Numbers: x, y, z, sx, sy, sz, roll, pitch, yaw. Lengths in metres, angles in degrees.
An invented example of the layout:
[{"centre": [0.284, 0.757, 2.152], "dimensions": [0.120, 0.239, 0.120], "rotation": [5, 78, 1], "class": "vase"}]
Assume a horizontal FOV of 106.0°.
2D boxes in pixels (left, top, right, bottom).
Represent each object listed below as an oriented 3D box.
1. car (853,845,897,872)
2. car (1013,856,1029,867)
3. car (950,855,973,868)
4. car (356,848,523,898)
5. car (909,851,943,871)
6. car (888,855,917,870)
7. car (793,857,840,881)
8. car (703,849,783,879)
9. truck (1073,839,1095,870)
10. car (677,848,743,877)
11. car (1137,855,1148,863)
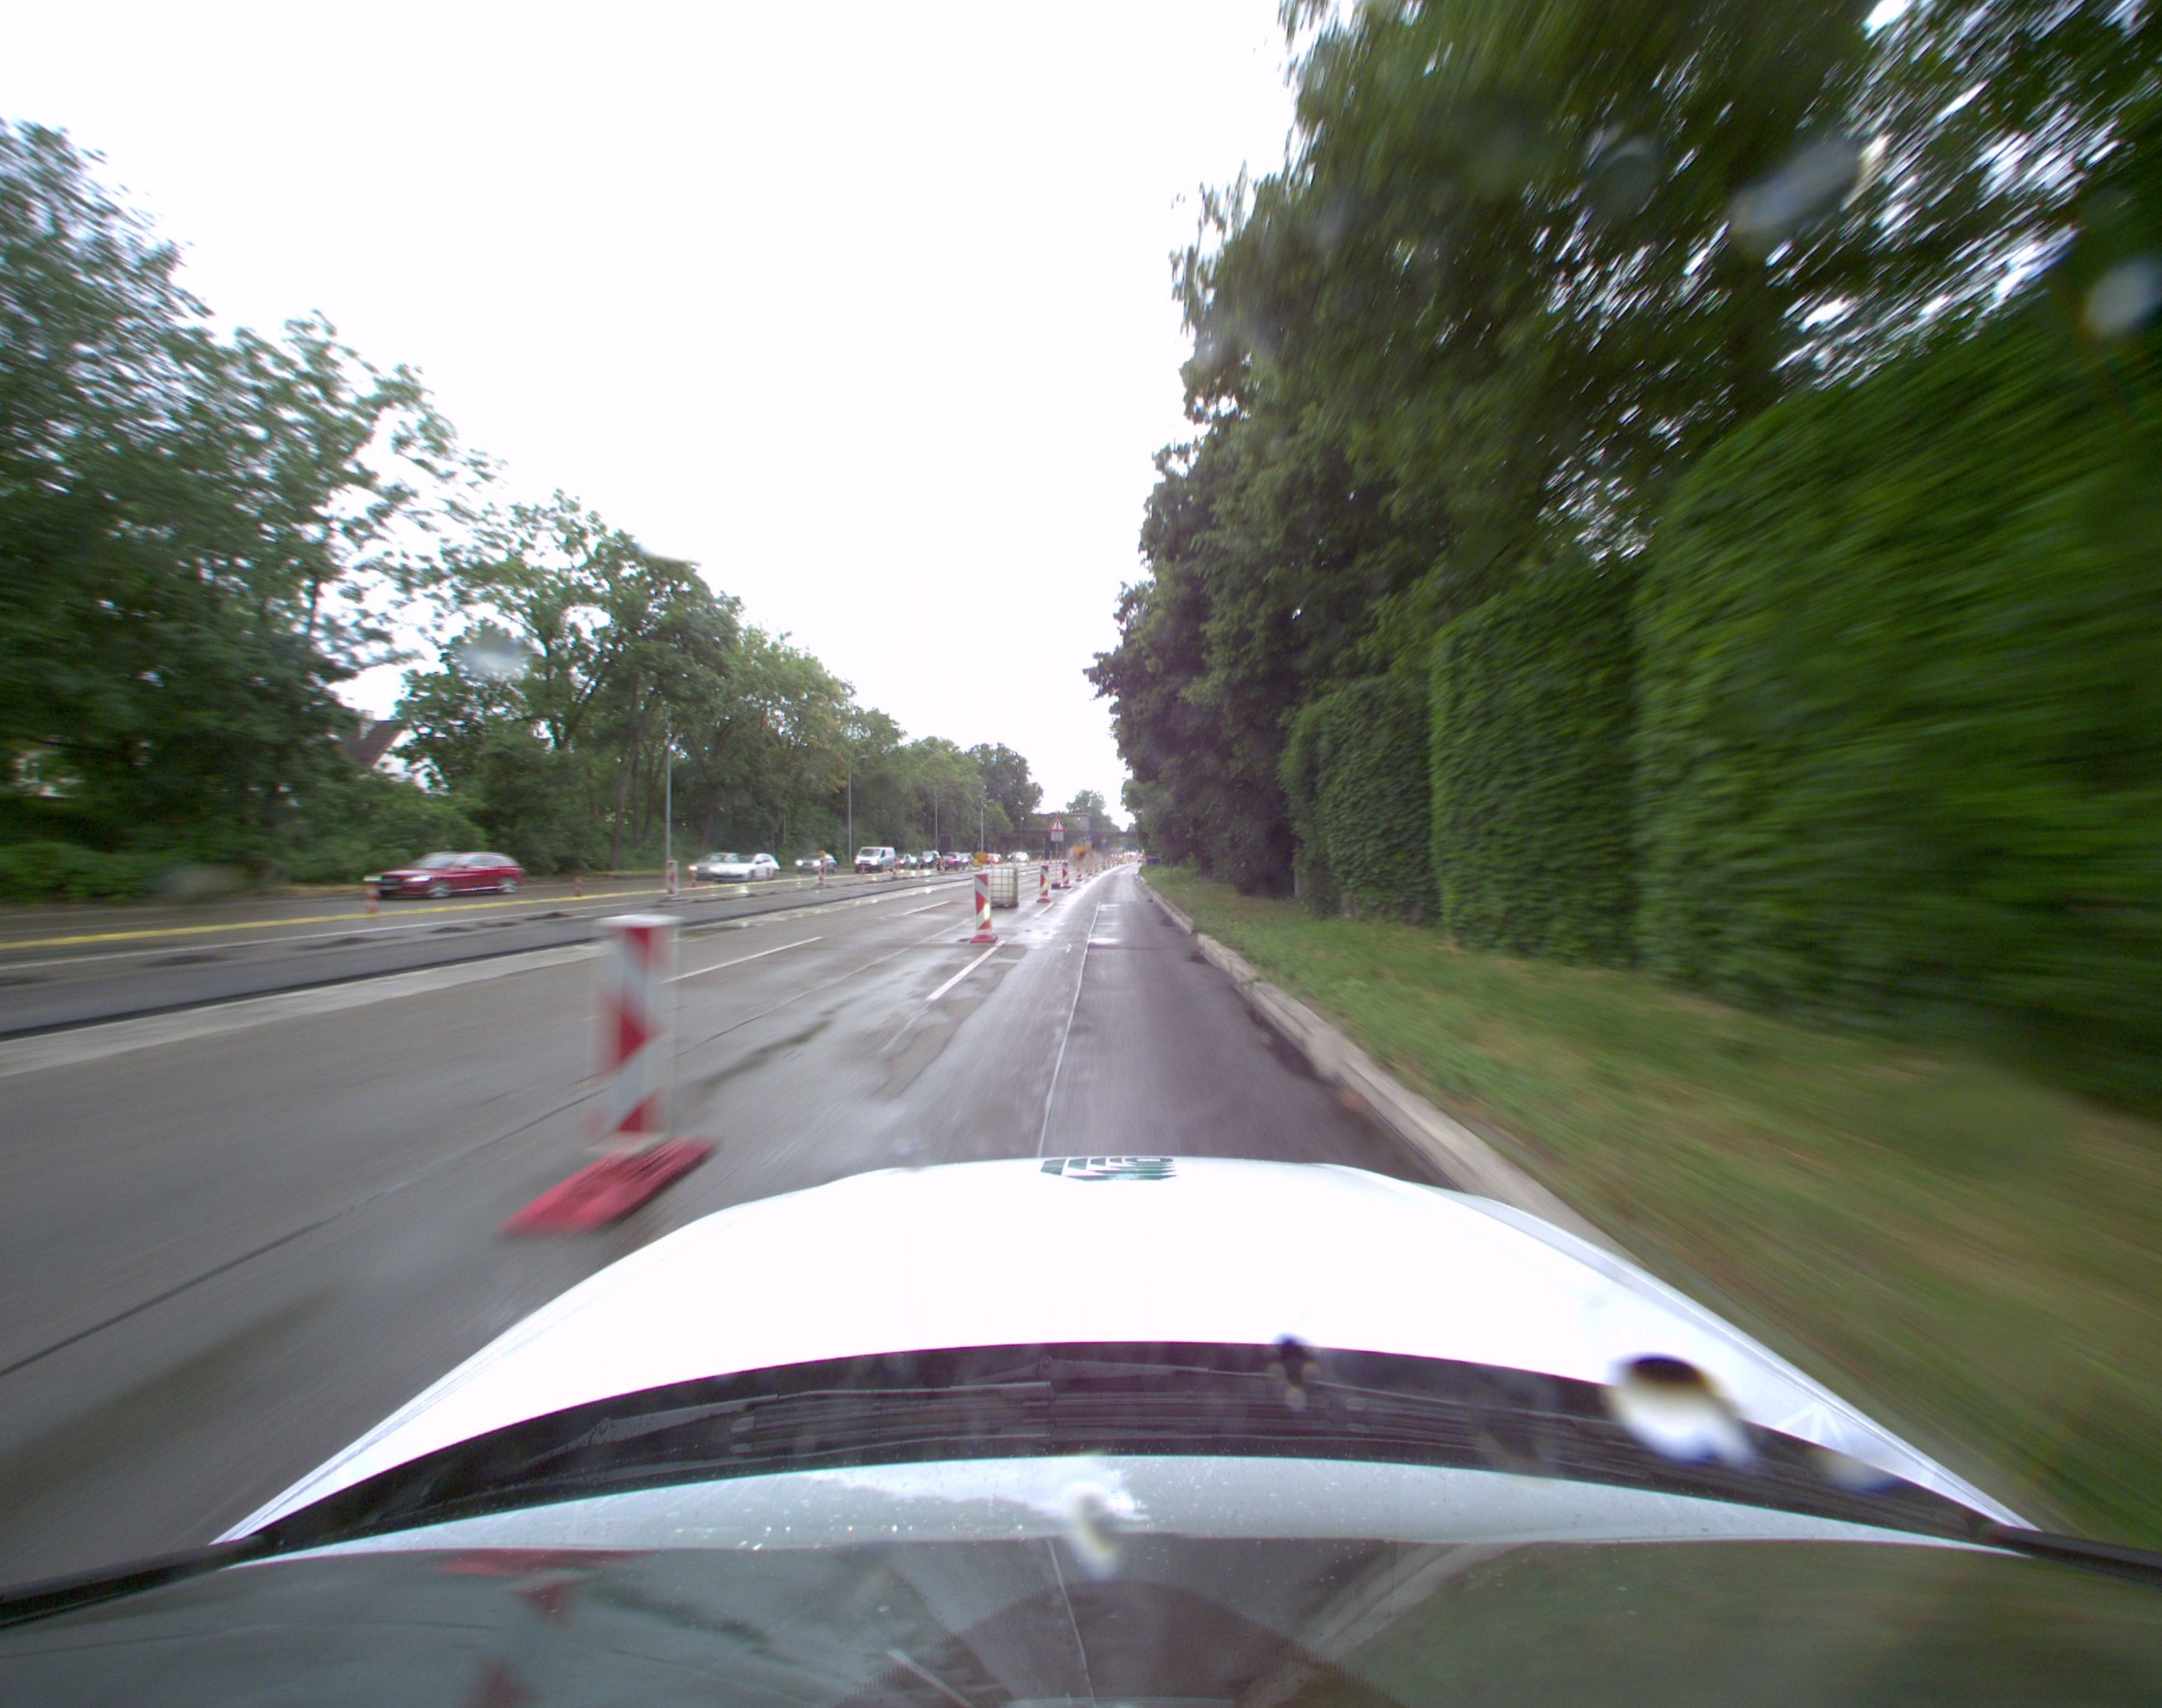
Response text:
[{"centre": [-15.686, 0.339, 62.187], "dimensions": [1.987, 1.972, 4.903], "rotation": [1, 0, 1], "class": "car"}, {"centre": [-9.752, 1.206, 132.995], "dimensions": [1.882, 1.661, 4.897], "rotation": [1, 0, 3], "class": "car"}, {"centre": [-13.676, 0.866, 93.365], "dimensions": [1.768, 1.487, 4.201], "rotation": [0, 0, 4], "class": "car"}, {"centre": [-20.499, 0.573, 26.309], "dimensions": [1.722, 1.476, 4.488], "rotation": [0, -1, 1], "class": "car"}, {"centre": [-14.668, 0.651, 77.331], "dimensions": [2.013, 1.725, 5.016], "rotation": [1, 0, 3], "class": "car"}, {"centre": [-17.232, 0.818, 78.755], "dimensions": [1.638, 1.420, 4.004], "rotation": [1, 0, 4], "class": "car"}, {"centre": [-18.684, 1.050, 57.694], "dimensions": [1.820, 1.622, 4.002], "rotation": [1, -1, 2], "class": "car"}, {"centre": [-16.950, 0.511, 41.068], "dimensions": [1.985, 1.416, 4.396], "rotation": [0, -1, 3], "class": "car"}, {"centre": [0.517, 0.081, 119.271], "dimensions": [2.887, 4.259, 10.758], "rotation": [1, 0, 1], "class": "truck"}, {"centre": [-19.709, 0.459, 43.412], "dimensions": [1.672, 1.401, 3.642], "rotation": [1, -1, 3], "class": "car"}, {"centre": [12.540, 1.057, 166.464], "dimensions": [1.983, 1.640, 4.007], "rotation": [0, -1, 6], "class": "car"}]
